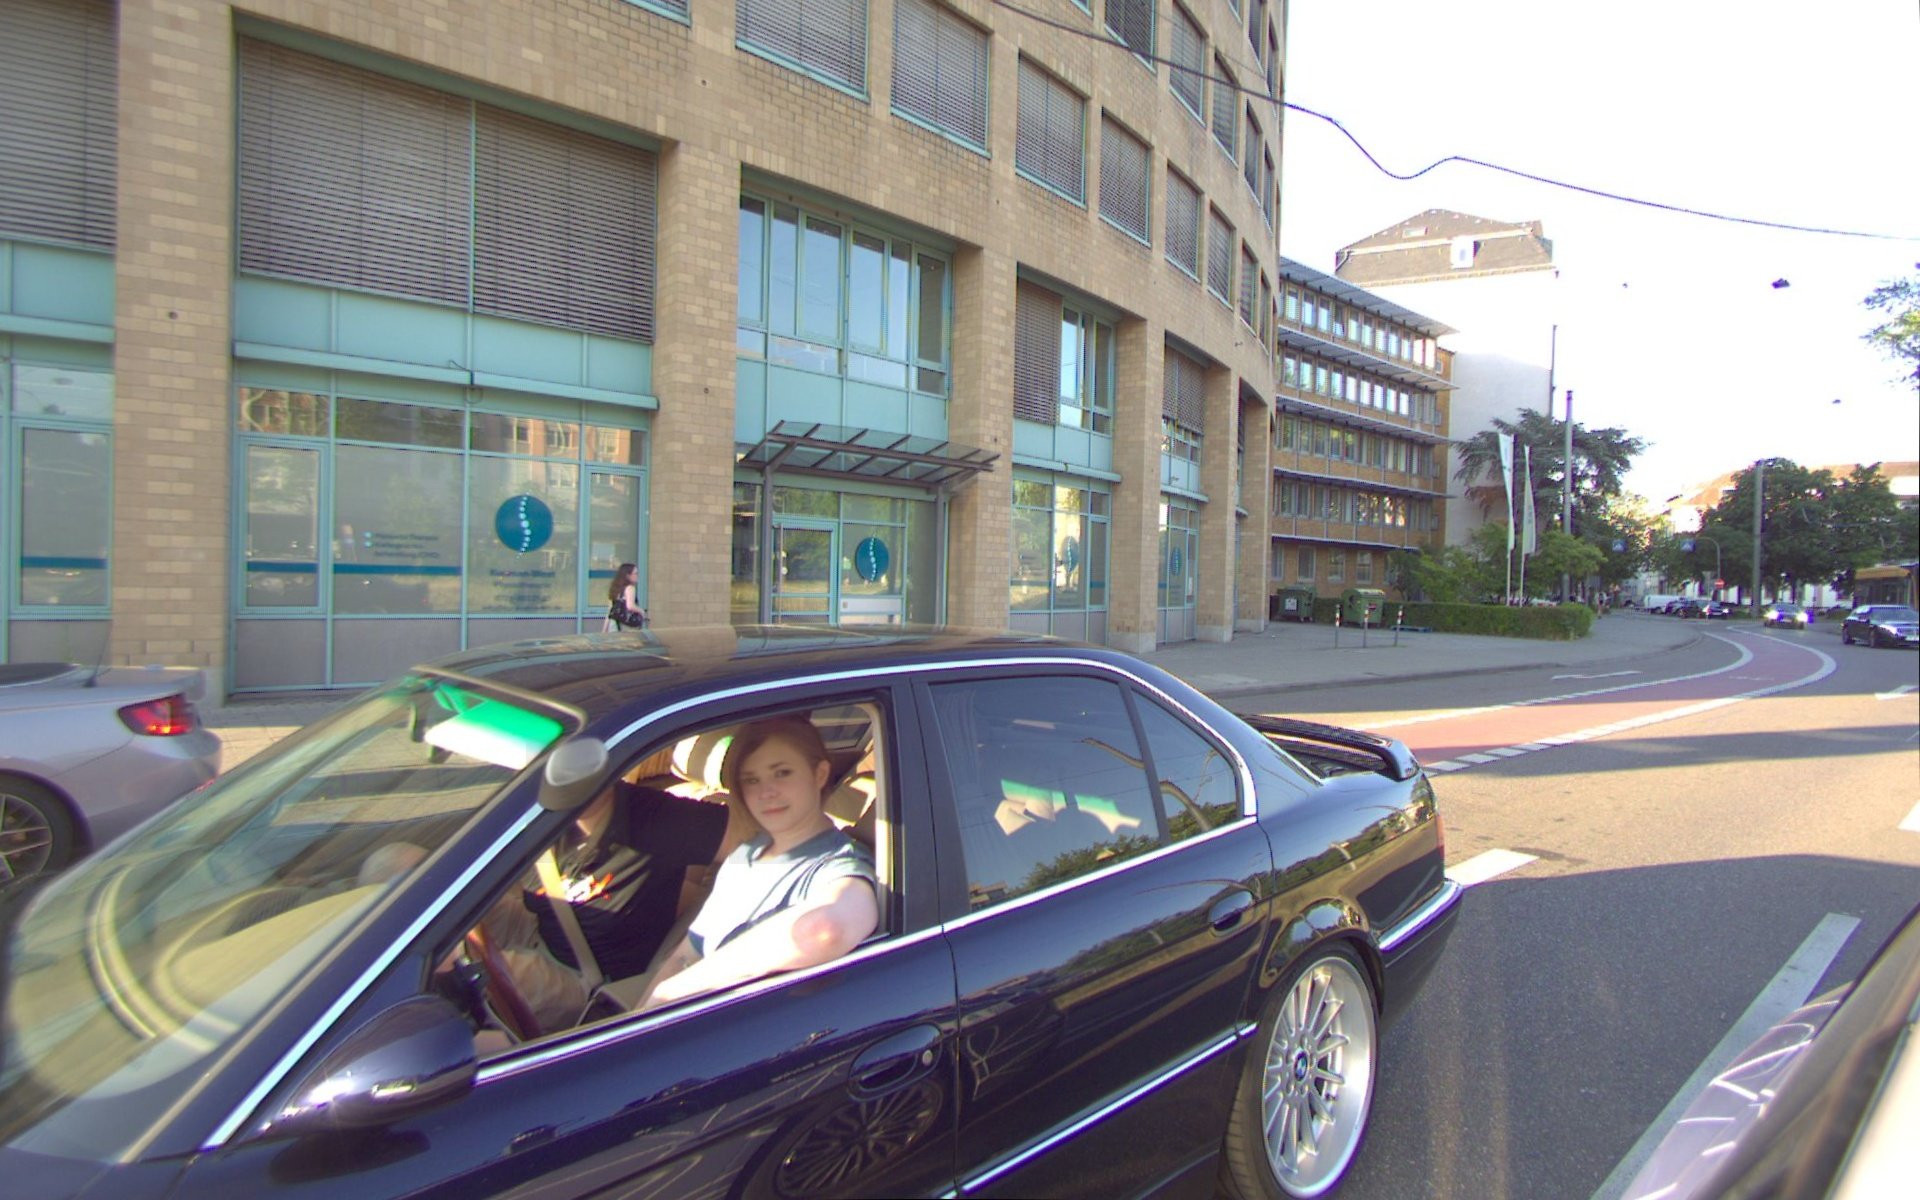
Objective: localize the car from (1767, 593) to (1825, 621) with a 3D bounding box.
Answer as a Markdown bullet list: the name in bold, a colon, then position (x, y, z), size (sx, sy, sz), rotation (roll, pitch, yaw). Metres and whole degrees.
- **car**: position (48.661, 0.364, 58.980), size (1.985, 1.479, 4.096), rotation (2, 1, 32)

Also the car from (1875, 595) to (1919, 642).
- **car**: position (34.172, 0.627, 35.918), size (4.622, 1.554, 1.896), rotation (0, 2, -41)

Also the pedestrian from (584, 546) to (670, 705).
- **pedestrian**: position (-3.739, 0.264, 11.362), size (0.702, 1.702, 0.626), rotation (0, 1, -44)

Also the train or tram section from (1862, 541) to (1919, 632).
- **train or tram section**: position (44.659, -0.583, 46.714), size (2.900, 3.785, 13.051), rotation (2, 1, 35)

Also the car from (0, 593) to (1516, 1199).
- **car**: position (-0.708, 0.702, 2.330), size (4.656, 1.402, 1.997), rotation (0, 1, -41)

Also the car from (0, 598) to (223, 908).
- **car**: position (-5.904, 0.700, 4.473), size (4.153, 1.403, 1.746), rotation (0, 0, -41)

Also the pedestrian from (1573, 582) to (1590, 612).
- **pedestrian**: position (38.190, -0.195, 62.182), size (0.711, 1.830, 0.728), rotation (0, 1, -41)

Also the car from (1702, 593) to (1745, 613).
- **car**: position (54.978, 0.224, 72.866), size (3.932, 1.405, 1.756), rotation (0, -2, -42)

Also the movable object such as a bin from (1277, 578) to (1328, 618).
- **movable object such as a bin**: position (13.360, -0.082, 39.505), size (1.310, 1.477, 1.425), rotation (0, 1, -43)

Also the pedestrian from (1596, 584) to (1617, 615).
- **pedestrian**: position (40.889, -0.063, 64.028), size (0.901, 1.918, 1.117), rotation (1, 1, 24)

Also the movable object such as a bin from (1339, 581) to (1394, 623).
- **movable object such as a bin**: position (14.856, 0.070, 36.983), size (1.311, 1.477, 1.424), rotation (0, 1, -45)
